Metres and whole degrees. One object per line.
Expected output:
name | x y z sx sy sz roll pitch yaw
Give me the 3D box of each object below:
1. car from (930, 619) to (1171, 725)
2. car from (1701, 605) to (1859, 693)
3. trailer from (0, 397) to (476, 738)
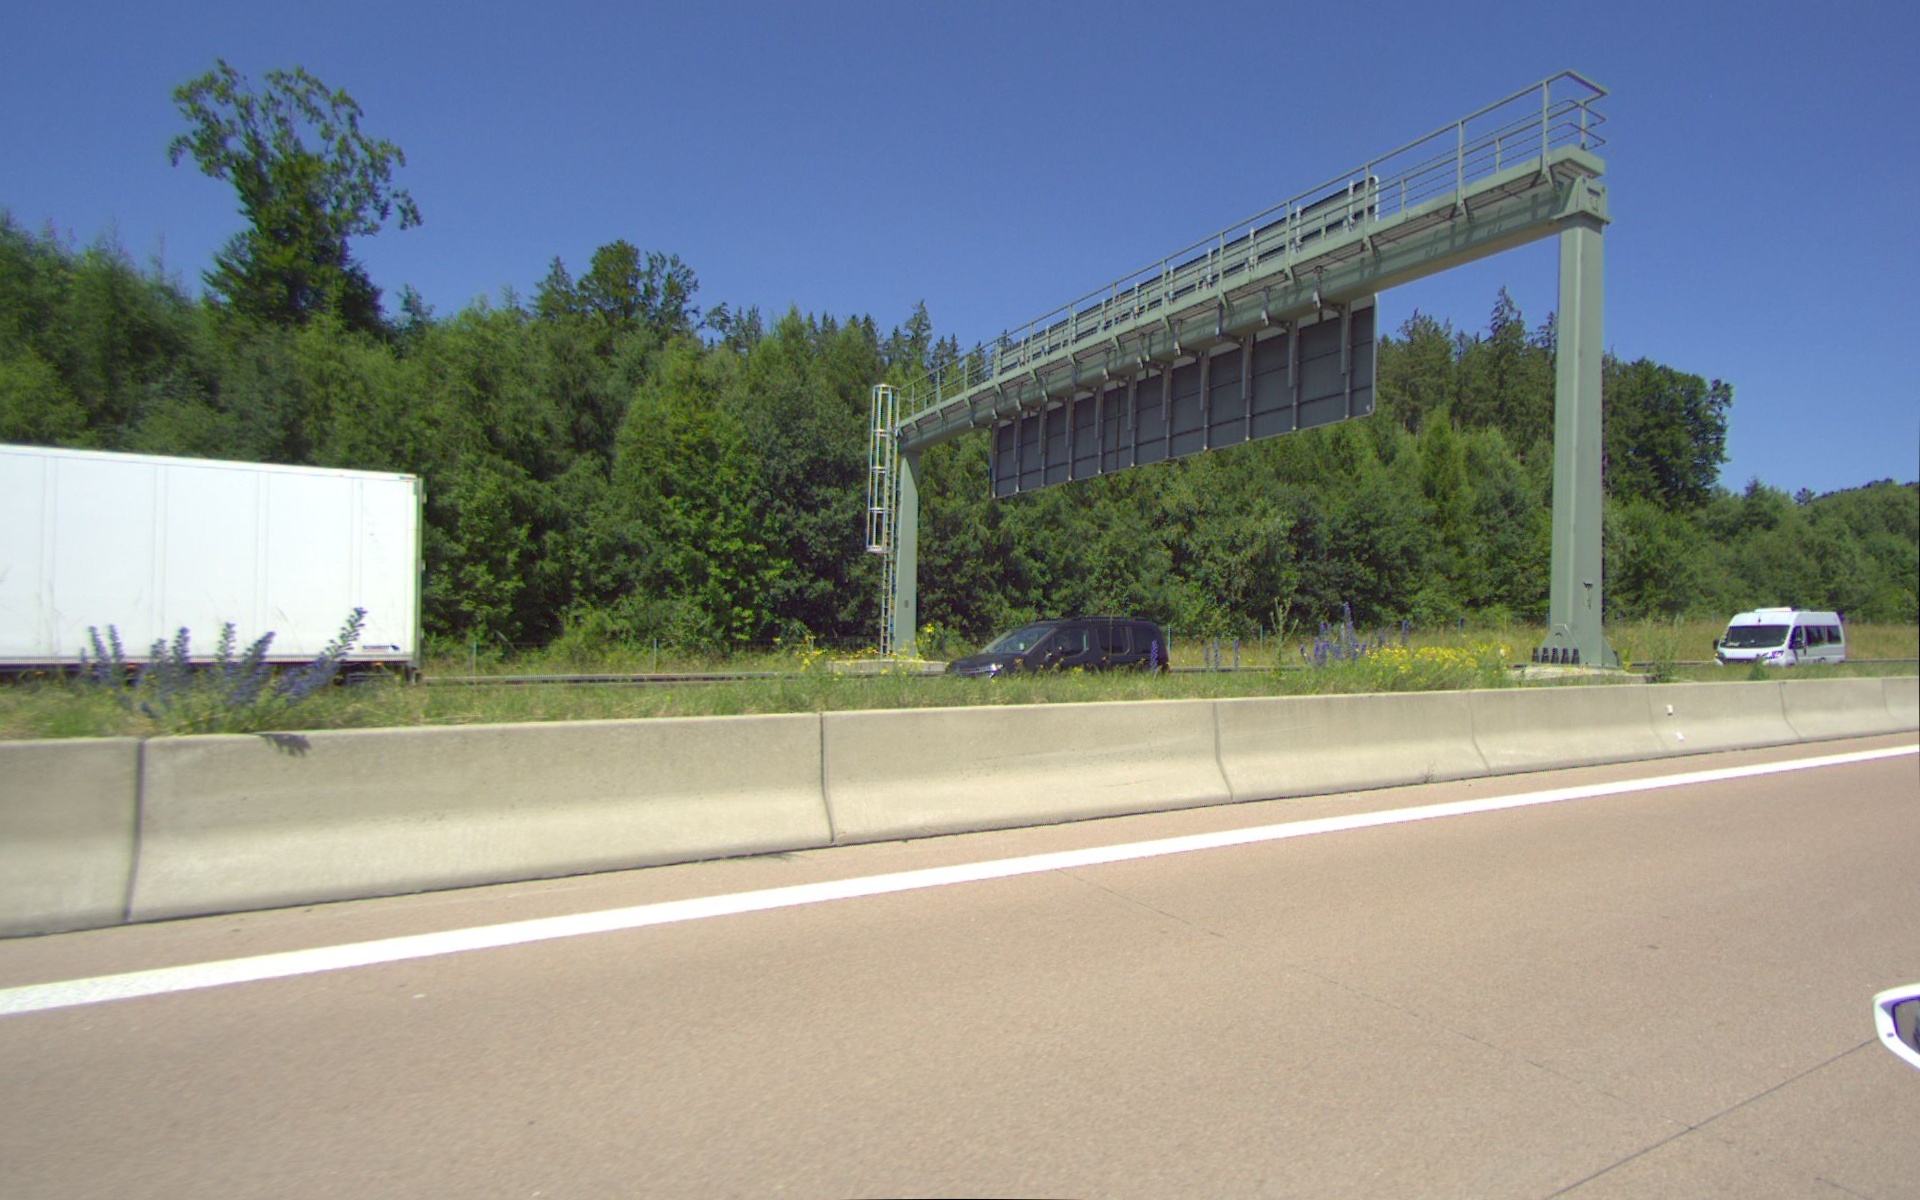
car | 1.643 1.211 17.903 3.954 1.677 1.881 1 -1 -31
car | 27.444 1.571 33.562 6.028 2.722 2.221 1 -1 -31
trailer | -14.061 -0.438 13.980 13.032 4.493 2.691 1 -1 -29
